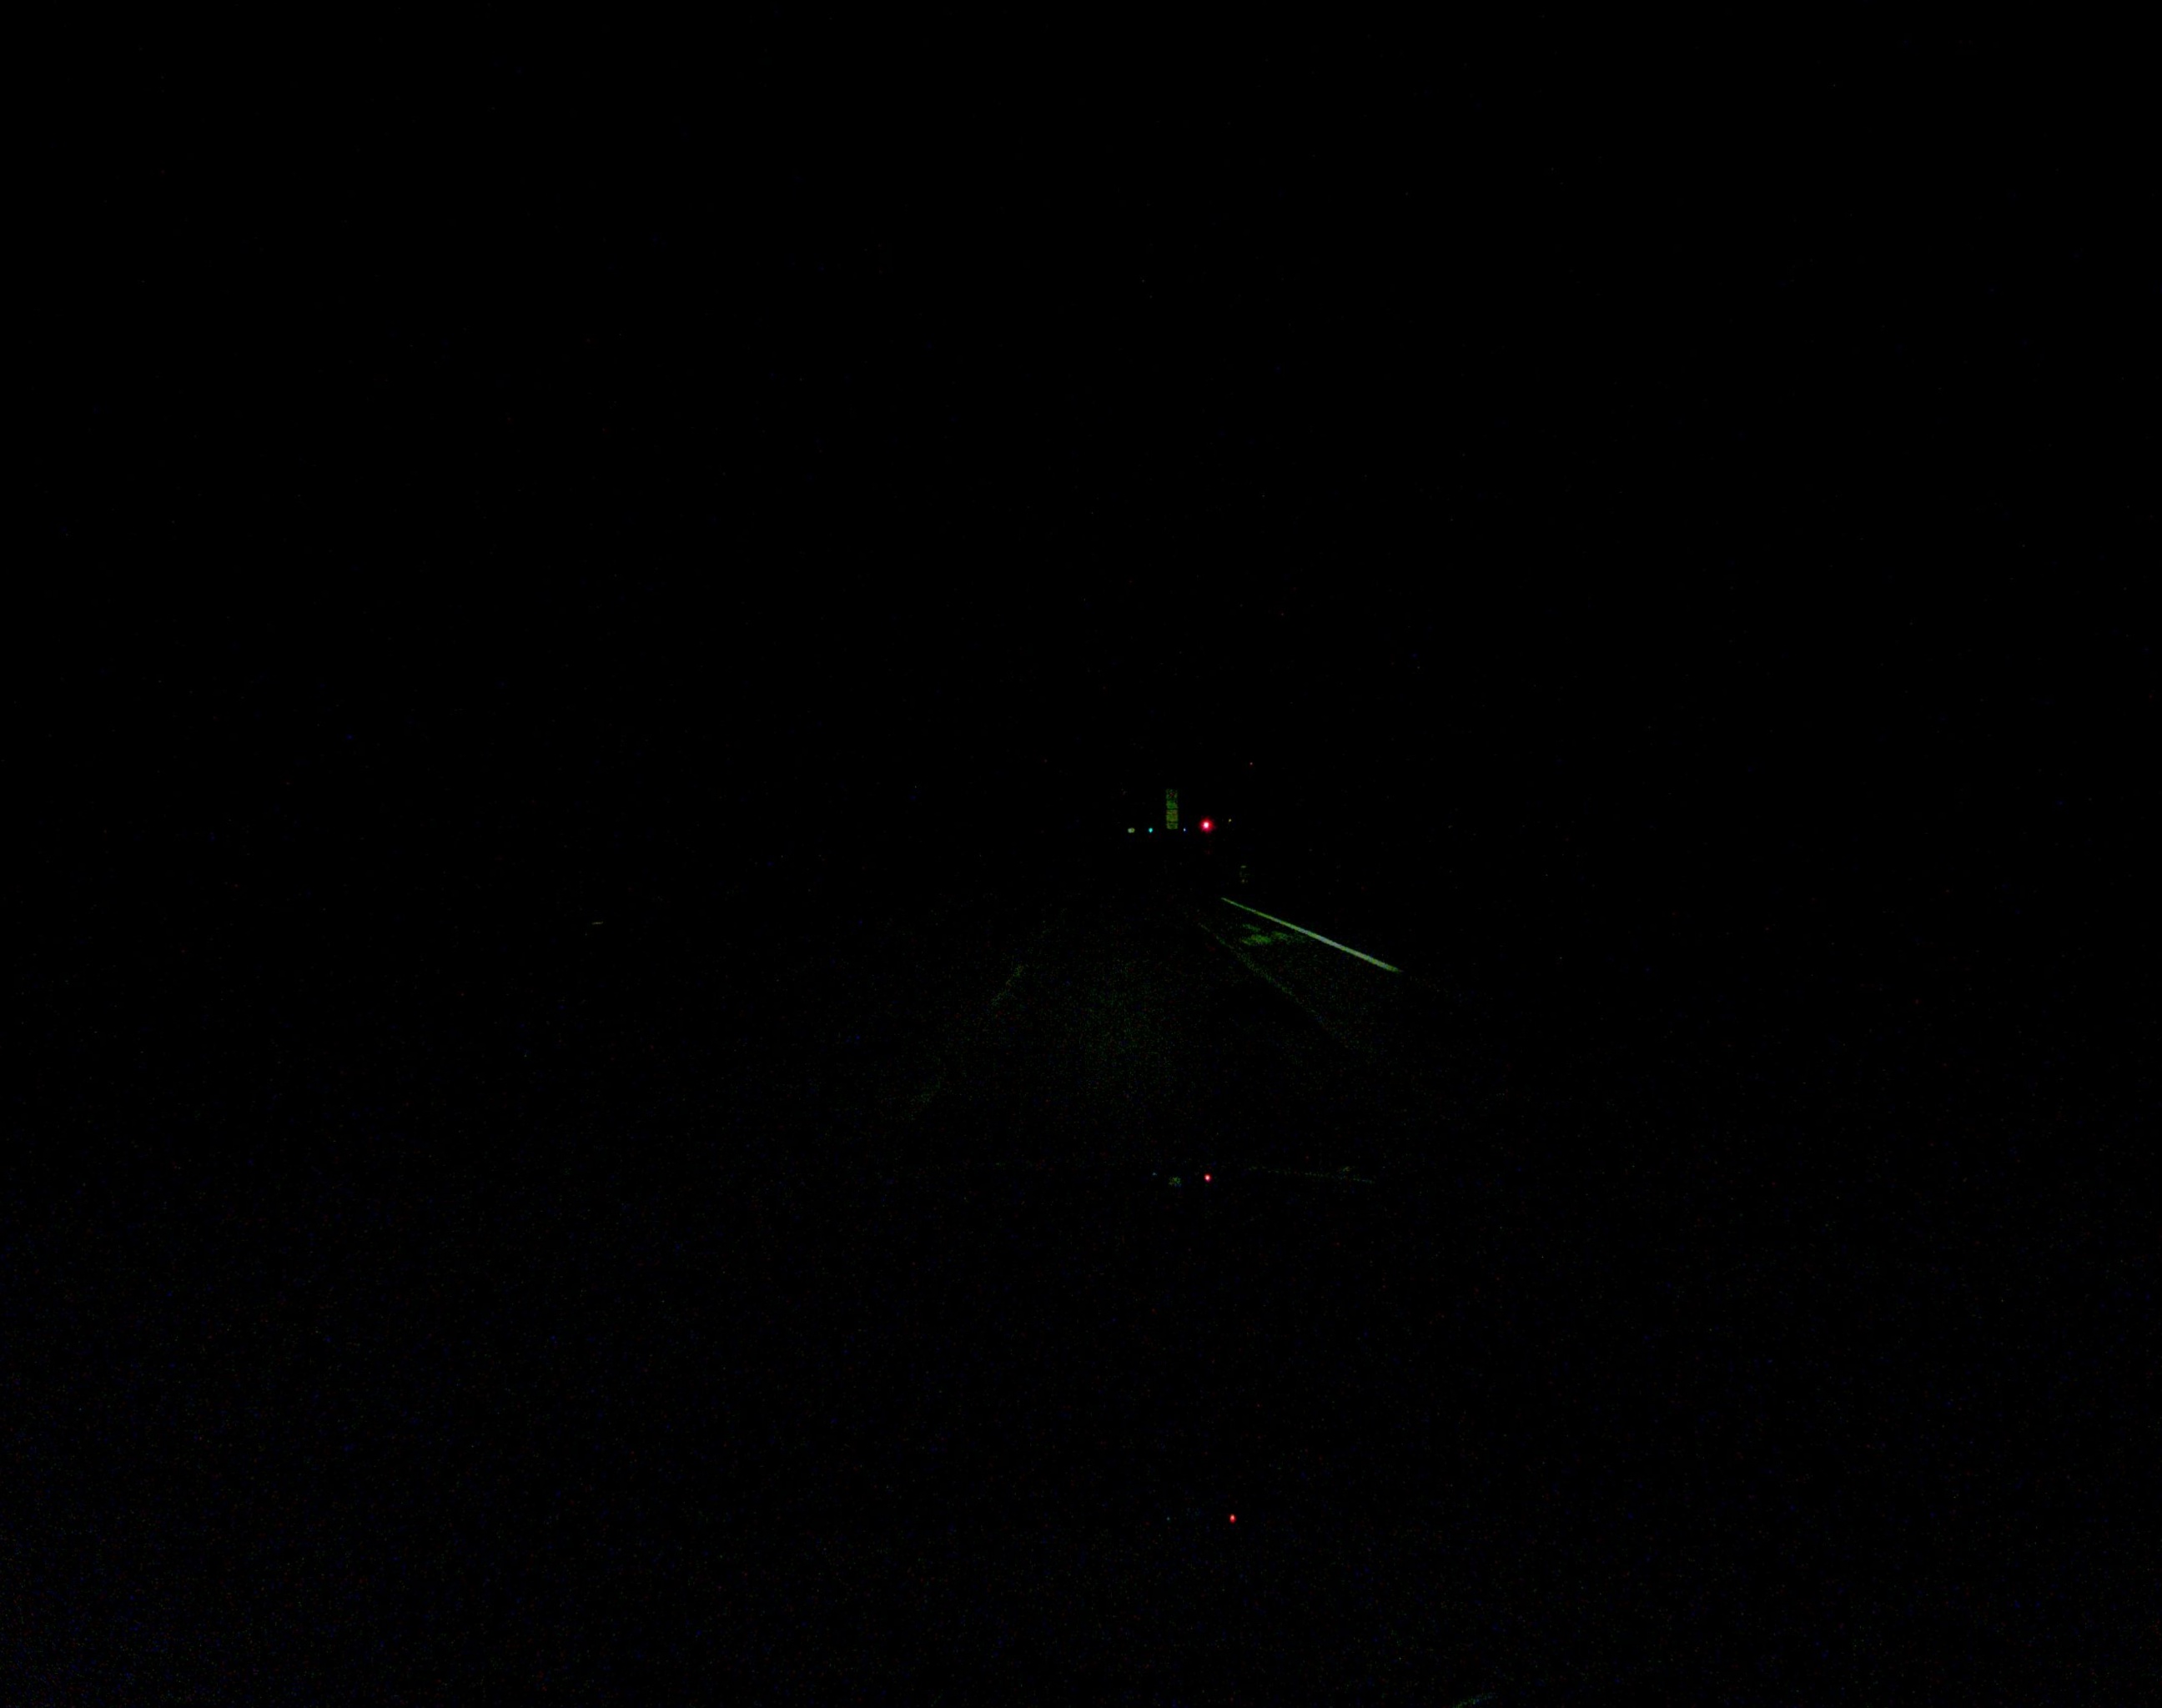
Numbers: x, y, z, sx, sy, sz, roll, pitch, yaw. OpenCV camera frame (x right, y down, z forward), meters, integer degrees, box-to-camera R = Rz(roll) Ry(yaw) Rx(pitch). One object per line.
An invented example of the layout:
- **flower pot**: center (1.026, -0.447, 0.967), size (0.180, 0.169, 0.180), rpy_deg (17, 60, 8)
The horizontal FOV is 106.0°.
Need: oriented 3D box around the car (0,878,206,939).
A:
- **car**: center (-27.820, 1.517, 23.217), size (3.969, 1.609, 1.759), rpy_deg (-1, -1, 4)
